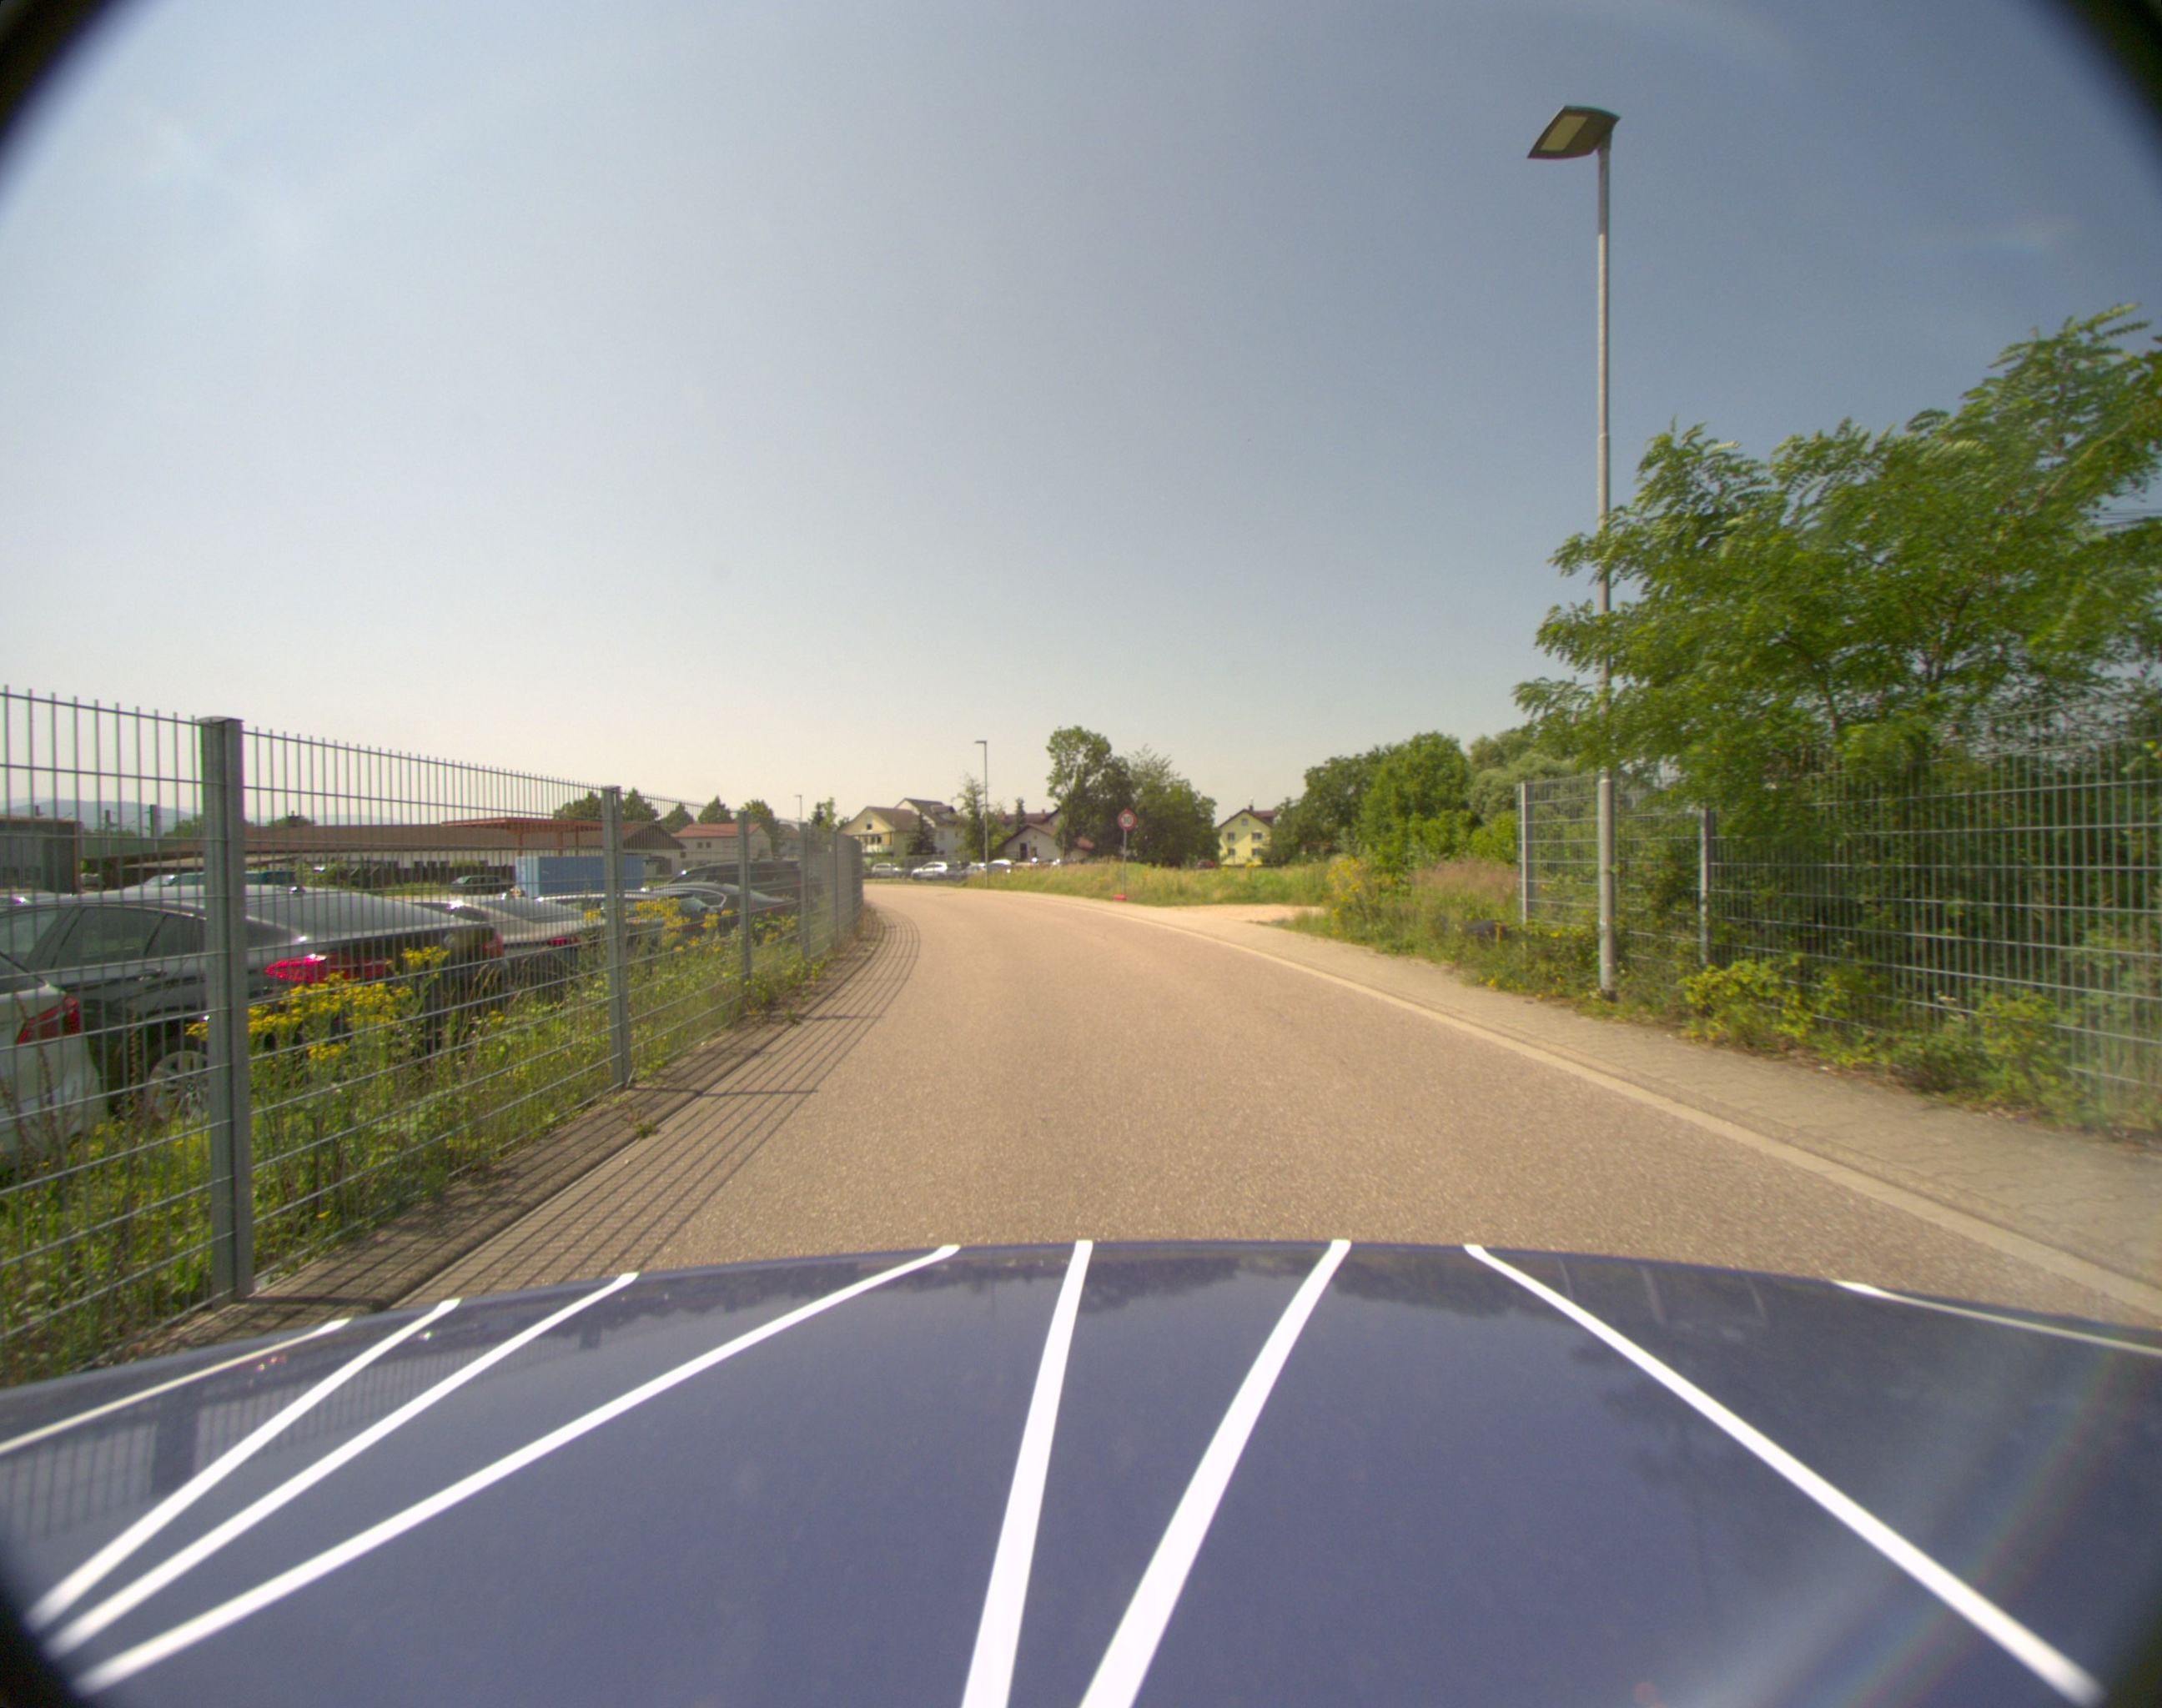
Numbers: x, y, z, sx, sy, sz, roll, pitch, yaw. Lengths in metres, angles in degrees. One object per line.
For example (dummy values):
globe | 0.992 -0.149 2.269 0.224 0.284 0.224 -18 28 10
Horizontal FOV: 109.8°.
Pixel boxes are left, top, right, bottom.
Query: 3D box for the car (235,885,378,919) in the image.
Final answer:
car | -27.797 1.696 27.338 3.373 1.102 1.671 -1 0 -1

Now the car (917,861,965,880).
car | -11.396 1.341 61.862 3.637 1.481 1.585 -1 0 28

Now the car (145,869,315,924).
car | -32.760 1.609 29.344 4.387 1.970 1.842 -1 0 -1

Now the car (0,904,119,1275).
car | -6.973 1.102 2.946 4.133 1.660 1.723 -1 0 -2

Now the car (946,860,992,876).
car | -10.776 1.371 73.276 3.989 1.489 2.004 -1 0 28

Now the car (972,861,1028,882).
car | -5.563 1.165 51.797 1.585 1.326 4.392 -1 0 -41

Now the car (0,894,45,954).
car | -25.808 1.574 16.339 4.387 1.267 1.878 -1 0 -1

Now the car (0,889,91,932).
car | -38.310 1.996 26.744 4.387 1.369 1.842 -1 0 -1

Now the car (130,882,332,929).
car | -27.486 1.643 24.681 4.387 1.337 1.842 -1 0 -1

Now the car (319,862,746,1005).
car | -7.564 1.020 11.041 4.703 1.758 1.740 -1 0 -15

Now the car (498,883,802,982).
car | -7.698 1.372 13.988 4.478 1.373 1.722 -3 0 -7

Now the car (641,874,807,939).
car | -8.616 1.224 18.605 3.479 1.409 1.514 -1 0 -17

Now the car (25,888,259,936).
car | -26.985 1.650 21.950 4.387 1.198 1.842 -1 0 -1

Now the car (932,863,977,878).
car | -11.120 1.481 66.811 3.637 1.239 1.585 -1 0 28

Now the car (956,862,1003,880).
car | -8.037 1.348 60.188 3.452 1.411 1.585 -1 0 28

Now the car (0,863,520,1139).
car | -6.952 0.925 5.520 4.480 1.660 1.723 -1 0 1

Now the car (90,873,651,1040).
car | -7.583 1.039 8.497 4.481 1.573 1.796 -1 0 -2

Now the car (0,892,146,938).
car | -26.675 1.521 19.037 4.387 1.027 1.619 -1 0 -1

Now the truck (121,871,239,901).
truck | -59.860 2.106 50.636 2.059 1.787 4.801 -1 0 1
